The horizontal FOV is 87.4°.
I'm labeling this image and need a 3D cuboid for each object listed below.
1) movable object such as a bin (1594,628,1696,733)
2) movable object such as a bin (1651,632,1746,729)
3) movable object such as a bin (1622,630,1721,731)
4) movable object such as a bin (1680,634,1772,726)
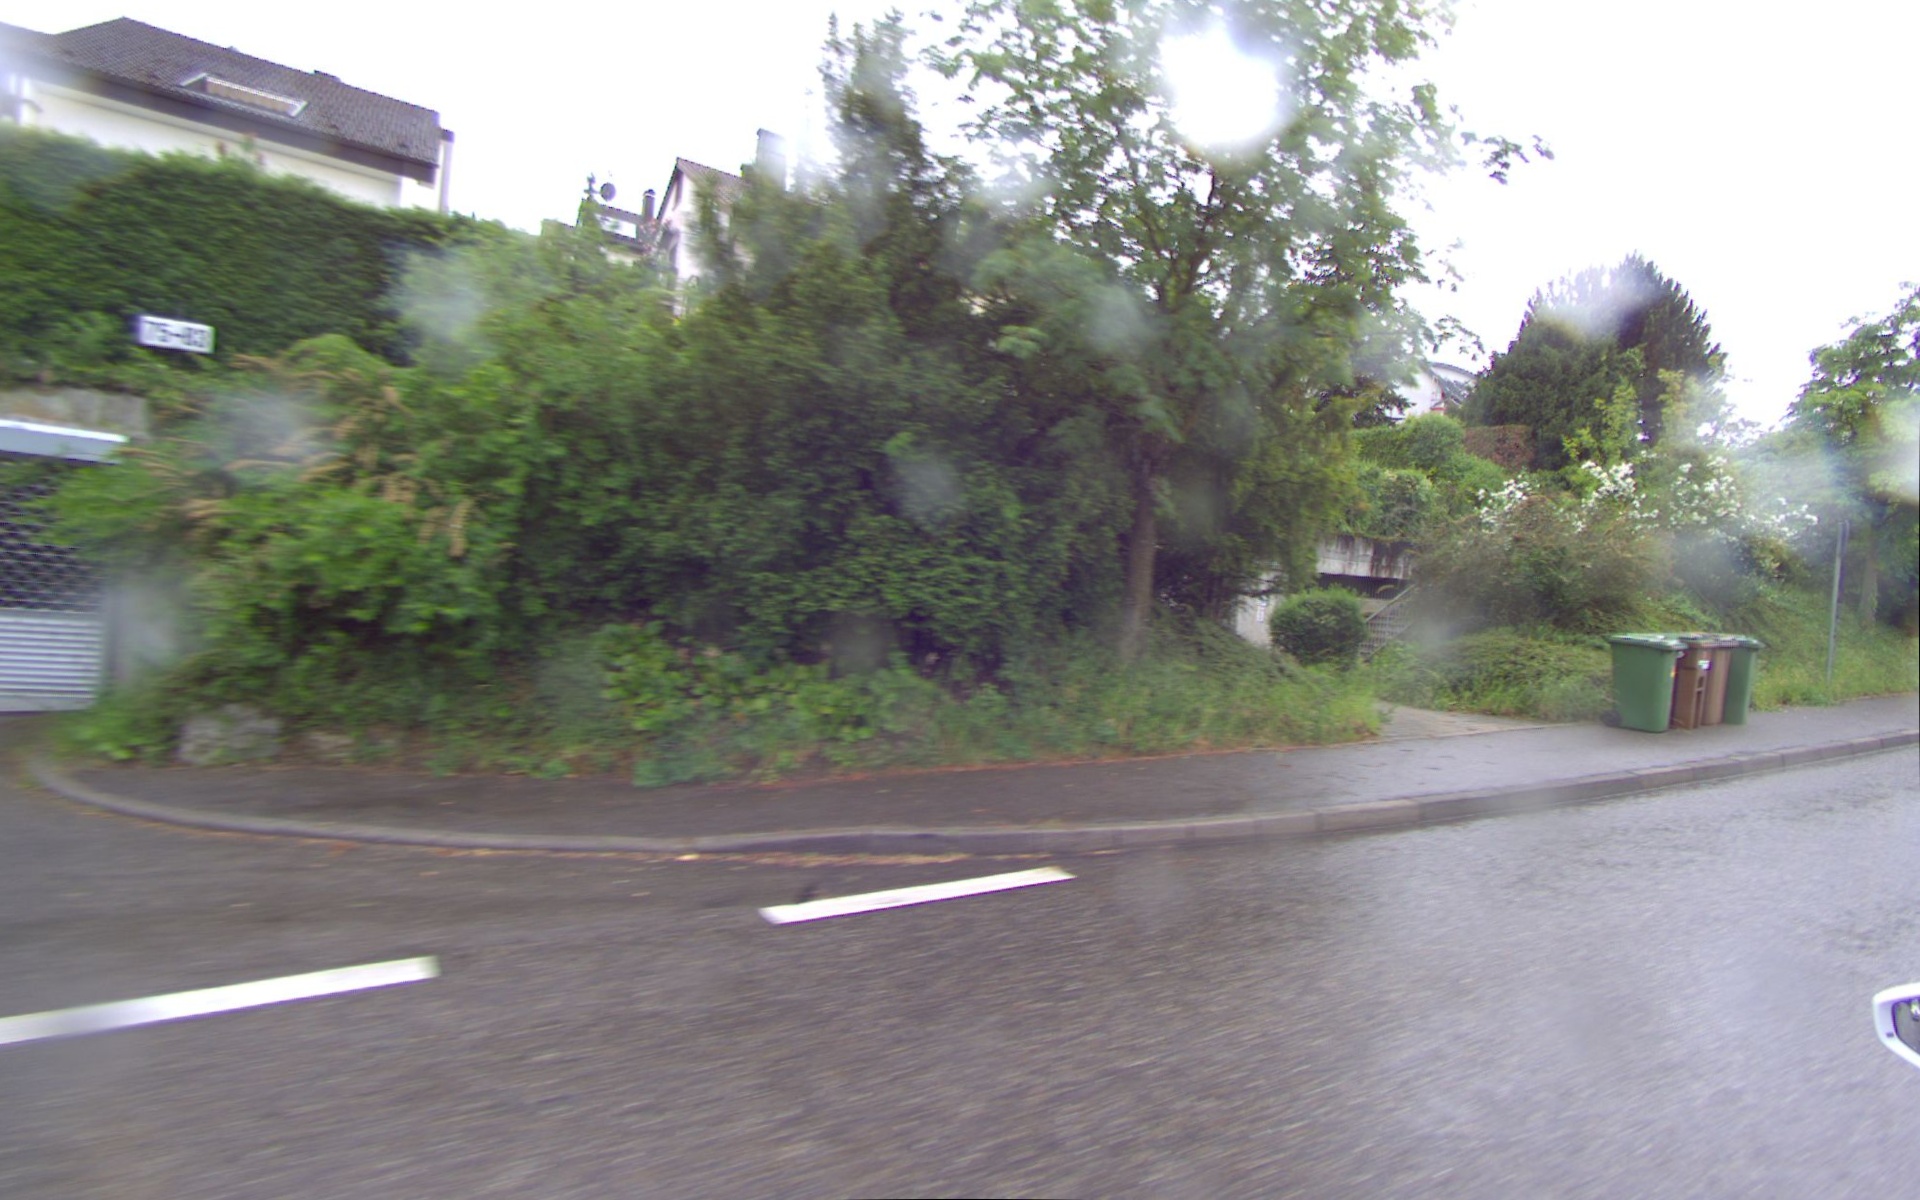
[{"bbox_3d":[7.765,0.893,11.389,0.731,1.111,0.762,2,0,-38],"label":"movable object such as a bin"},{"bbox_3d":[8.992,0.956,12.232,0.666,1.111,0.762,2,0,-38],"label":"movable object such as a bin"},{"bbox_3d":[8.375,0.929,11.829,0.731,1.111,0.762,2,0,-38],"label":"movable object such as a bin"},{"bbox_3d":[9.606,0.980,12.606,0.684,1.082,0.762,2,0,-38],"label":"movable object such as a bin"}]
